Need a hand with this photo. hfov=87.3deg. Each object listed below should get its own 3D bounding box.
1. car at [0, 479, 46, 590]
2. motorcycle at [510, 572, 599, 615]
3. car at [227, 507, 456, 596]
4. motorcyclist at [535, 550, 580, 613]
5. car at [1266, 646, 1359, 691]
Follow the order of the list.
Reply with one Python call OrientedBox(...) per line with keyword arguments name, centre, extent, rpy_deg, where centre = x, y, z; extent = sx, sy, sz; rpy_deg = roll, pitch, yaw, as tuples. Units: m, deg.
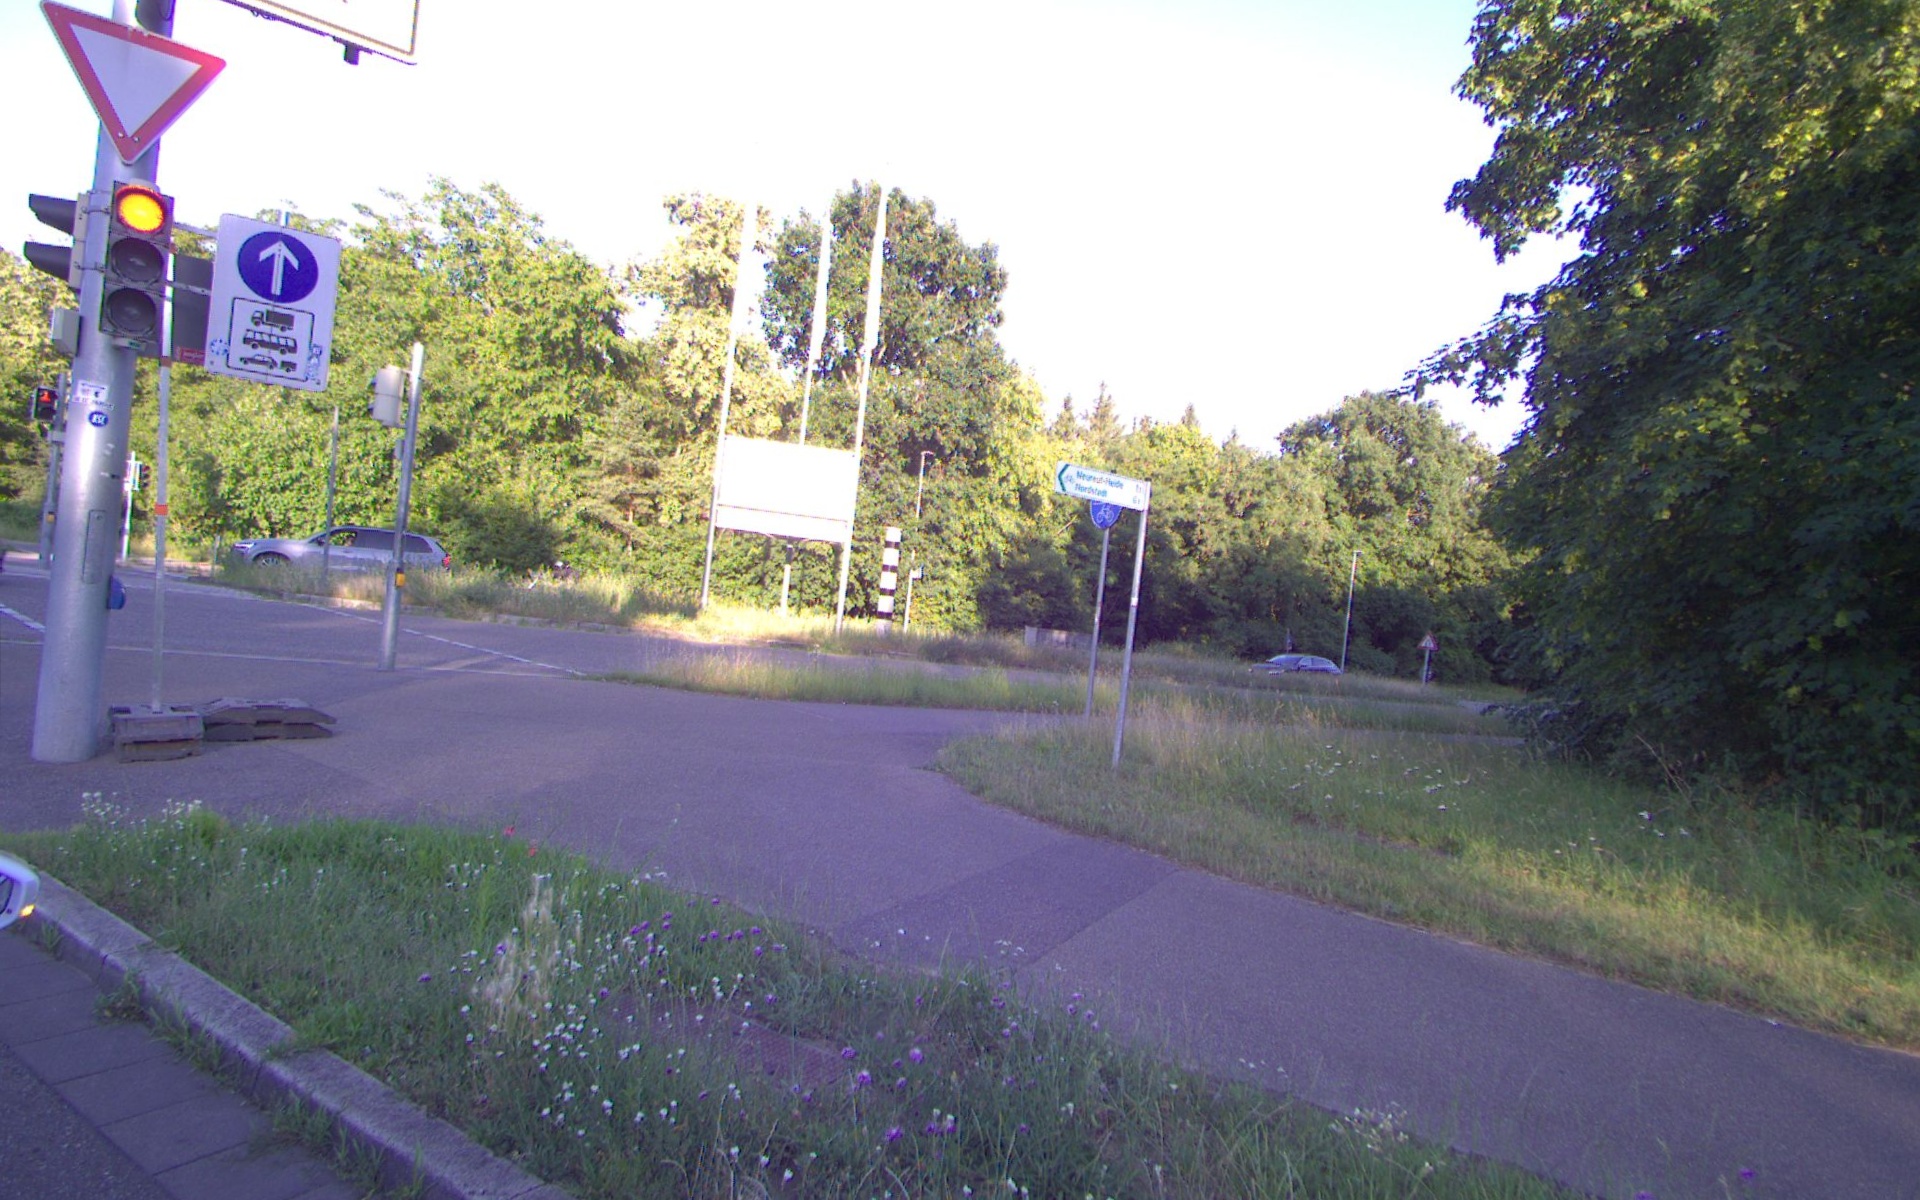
OrientedBox(name="car", centre=(-15.602, -1.183, 13.345), extent=(4.612, 1.548, 1.991), rpy_deg=(7, 0, -20))
OrientedBox(name="motorcycle", centre=(-11.321, -0.178, 28.134), extent=(2.133, 0.921, 0.655), rpy_deg=(7, 0, -37))
OrientedBox(name="car", centre=(-15.915, -1.208, 25.998), extent=(4.790, 1.618, 1.980), rpy_deg=(7, 0, -37))
OrientedBox(name="motorcyclist", centre=(-11.253, -0.518, 28.147), extent=(0.881, 1.614, 0.648), rpy_deg=(6, 0, -37))
OrientedBox(name="car", centre=(15.100, 2.944, 43.039), extent=(3.840, 1.507, 1.754), rpy_deg=(7, -1, -36))
